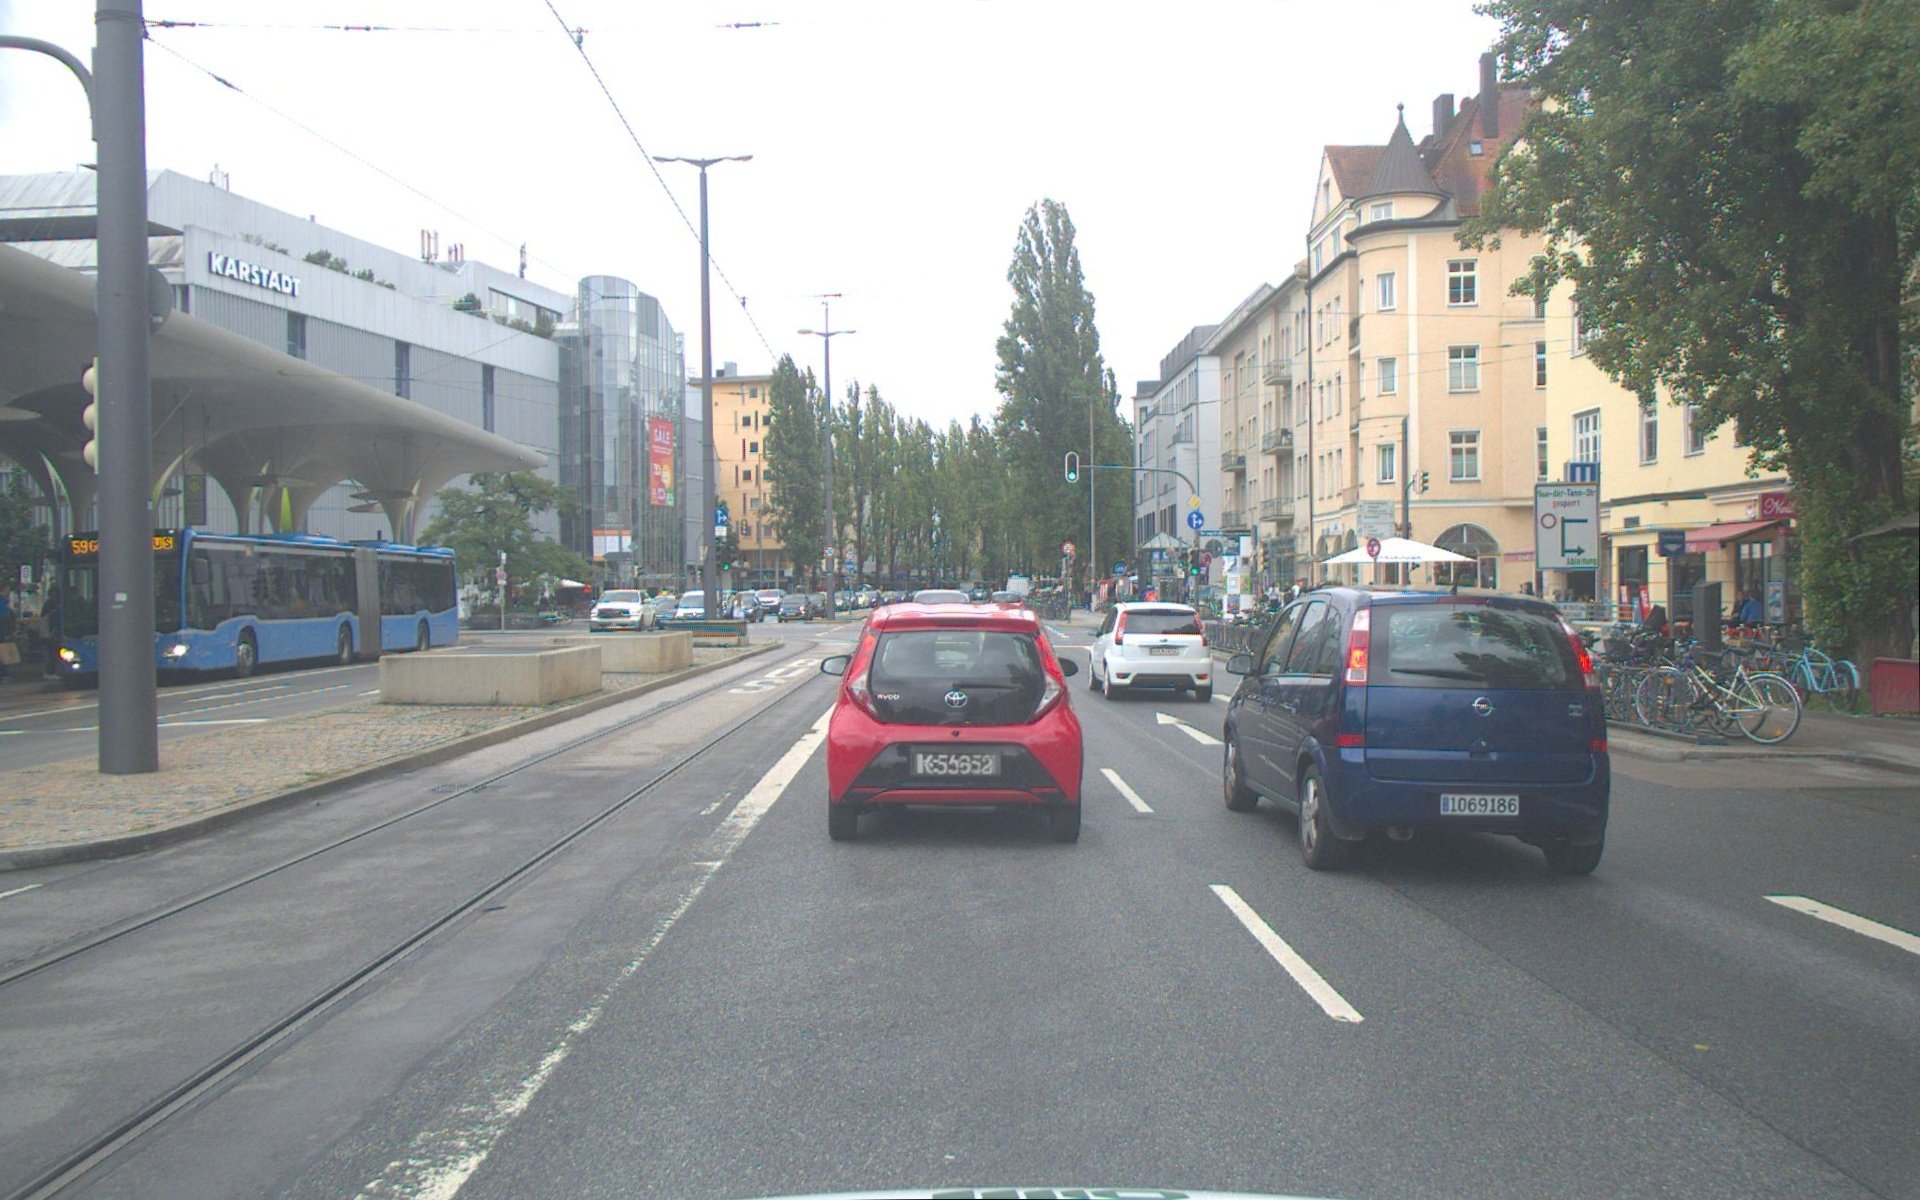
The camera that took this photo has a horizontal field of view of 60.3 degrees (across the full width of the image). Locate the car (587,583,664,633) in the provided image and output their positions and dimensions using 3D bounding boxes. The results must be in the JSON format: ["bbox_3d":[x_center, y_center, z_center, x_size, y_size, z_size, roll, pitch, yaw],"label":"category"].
[{"bbox_3d":[-13.678,0.296,68.051,2.131,1.920,6.153,-1,0,-2],"label":"car"}]

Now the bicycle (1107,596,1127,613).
[{"bbox_3d":[9.537,0.257,100.641,1.157,0.980,0.369,-1,0,-2],"label":"bicycle"}]

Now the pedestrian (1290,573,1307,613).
[{"bbox_3d":[15.487,-0.302,75.740,0.635,1.781,0.637,-1,3,1],"label":"pedestrian"}]

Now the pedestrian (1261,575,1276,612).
[{"bbox_3d":[14.304,-0.301,76.721,0.554,1.699,0.562,0,3,22],"label":"pedestrian"}]

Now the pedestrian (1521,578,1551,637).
[{"bbox_3d":[16.355,0.210,46.970,0.602,1.661,0.677,-1,0,-1],"label":"pedestrian"}]

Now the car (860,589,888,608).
[{"bbox_3d":[-8.033,-0.163,155.426,1.895,1.769,4.592,0,1,6],"label":"car"}]

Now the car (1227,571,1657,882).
[{"bbox_3d":[2.834,0.654,10.509,1.668,1.617,3.556,1,0,0],"label":"car"}]

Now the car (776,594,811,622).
[{"bbox_3d":[-8.967,0.426,89.015,1.518,1.471,3.529,-1,0,-12],"label":"car"}]

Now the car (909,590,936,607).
[{"bbox_3d":[-4.032,-0.204,178.520,1.951,1.721,4.925,1,1,10],"label":"car"}]

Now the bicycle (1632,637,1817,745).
[{"bbox_3d":[8.165,0.951,17.738,0.372,1.013,1.816,-1,2,-39],"label":"bicycle"}]

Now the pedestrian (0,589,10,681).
[{"bbox_3d":[-18.706,0.682,31.858,0.495,1.764,0.571,-1,0,-9],"label":"pedestrian"}]

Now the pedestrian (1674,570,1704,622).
[{"bbox_3d":[20.152,-0.116,45.742,0.534,1.421,0.547,-1,0,-27],"label":"pedestrian"}]

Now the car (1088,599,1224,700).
[{"bbox_3d":[3.013,0.719,26.046,1.665,1.451,3.496,0,0,-1],"label":"car"}]

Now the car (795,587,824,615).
[{"bbox_3d":[-8.585,0.042,94.332,1.475,1.561,2.831,-1,1,-9],"label":"car"}]

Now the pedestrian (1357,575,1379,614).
[{"bbox_3d":[18.365,-0.265,74.406,0.741,1.714,0.672,-4,4,-43],"label":"pedestrian"}]

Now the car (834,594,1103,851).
[{"bbox_3d":[0.064,0.714,11.286,1.572,1.487,3.130,0,0,0],"label":"car"}]

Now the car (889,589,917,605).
[{"bbox_3d":[-5.834,-0.282,169.327,1.951,1.561,4.591,-1,0,9],"label":"car"}]

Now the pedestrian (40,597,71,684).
[{"bbox_3d":[-17.259,0.770,31.570,0.385,1.633,0.390,-1,0,-6],"label":"pedestrian"}]

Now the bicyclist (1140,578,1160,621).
[{"bbox_3d":[8.498,-0.022,73.906,0.747,1.902,1.133,-1,0,0],"label":"bicyclist"}]

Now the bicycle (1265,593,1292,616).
[{"bbox_3d":[15.254,0.212,79.227,0.486,1.077,1.859,-1,0,-15],"label":"bicycle"}]

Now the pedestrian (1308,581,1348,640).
[{"bbox_3d":[11.176,0.317,50.306,0.867,1.773,0.854,-1,0,-17],"label":"pedestrian"}]

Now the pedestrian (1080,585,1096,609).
[{"bbox_3d":[8.293,-0.187,107.056,0.785,1.548,0.807,-1,0,-18],"label":"pedestrian"}]

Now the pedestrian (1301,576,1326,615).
[{"bbox_3d":[16.177,-0.203,75.683,0.914,1.786,1.065,-1,0,3],"label":"pedestrian"}]

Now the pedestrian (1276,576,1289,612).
[{"bbox_3d":[14.967,-0.286,76.818,0.548,1.637,0.568,-1,3,12],"label":"pedestrian"}]

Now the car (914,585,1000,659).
[{"bbox_3d":[-0.102,0.486,39.793,1.953,1.646,3.999,-1,0,-1],"label":"car"}]

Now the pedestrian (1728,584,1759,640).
[{"bbox_3d":[19.022,0.282,40.146,0.485,1.355,0.552,-1,0,-1],"label":"pedestrian"}]

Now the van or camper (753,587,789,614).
[{"bbox_3d":[-13.658,0.014,119.788,1.888,1.857,5.440,-1,0,0],"label":"van or camper"}]

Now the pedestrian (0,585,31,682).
[{"bbox_3d":[-17.769,0.616,30.896,0.556,1.774,0.752,-1,0,-19],"label":"pedestrian"}]

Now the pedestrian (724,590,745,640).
[{"bbox_3d":[-7.415,0.491,54.370,0.482,1.646,0.551,-1,0,-35],"label":"pedestrian"}]

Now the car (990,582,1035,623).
[{"bbox_3d":[2.472,0.119,78.858,1.953,1.870,4.000,-1,0,-1],"label":"car"}]

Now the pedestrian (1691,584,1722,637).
[{"bbox_3d":[18.482,0.260,40.956,0.485,1.312,0.552,-1,0,-1],"label":"pedestrian"}]

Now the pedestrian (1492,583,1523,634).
[{"bbox_3d":[15.790,0.243,47.701,0.662,1.447,0.616,-1,0,-1],"label":"pedestrian"}]

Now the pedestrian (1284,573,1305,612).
[{"bbox_3d":[15.492,-0.362,76.608,0.637,1.734,0.726,-3,4,-30],"label":"pedestrian"}]

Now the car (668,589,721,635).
[{"bbox_3d":[-11.551,0.485,72.172,1.750,1.887,4.216,-2,0,-3],"label":"car"}]

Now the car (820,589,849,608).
[{"bbox_3d":[-10.021,-0.120,132.374,1.952,1.436,4.168,-1,0,1],"label":"car"}]

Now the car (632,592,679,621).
[{"bbox_3d":[-15.264,0.305,83.098,1.639,1.402,4.612,-1,0,-2],"label":"car"}]

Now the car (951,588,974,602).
[{"bbox_3d":[0.297,-0.630,203.009,1.951,1.758,3.920,-1,0,13],"label":"car"}]

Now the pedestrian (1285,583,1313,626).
[{"bbox_3d":[12.652,0.176,61.755,0.717,1.567,0.887,-1,0,-15],"label":"pedestrian"}]

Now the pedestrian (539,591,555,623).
[{"bbox_3d":[-23.454,0.416,94.018,0.739,1.804,0.767,-1,0,-24],"label":"pedestrian"}]

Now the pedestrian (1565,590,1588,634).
[{"bbox_3d":[18.997,0.370,50.978,0.468,1.322,0.527,-1,0,-2],"label":"pedestrian"}]

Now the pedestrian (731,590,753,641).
[{"bbox_3d":[-7.135,0.498,54.086,0.513,1.646,0.461,-1,0,43],"label":"pedestrian"}]

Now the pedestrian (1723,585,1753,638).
[{"bbox_3d":[19.313,0.280,41.072,0.485,1.312,0.552,-1,0,-1],"label":"pedestrian"}]

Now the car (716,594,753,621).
[{"bbox_3d":[-12.389,0.382,91.100,1.644,1.420,4.231,-1,0,-3],"label":"car"}]

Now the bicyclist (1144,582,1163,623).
[{"bbox_3d":[8.036,0.099,68.791,0.601,1.686,1.251,-1,0,0],"label":"bicyclist"}]

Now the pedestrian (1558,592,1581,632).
[{"bbox_3d":[18.356,0.361,49.819,0.468,1.186,0.527,-1,0,-2],"label":"pedestrian"}]

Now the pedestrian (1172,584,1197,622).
[{"bbox_3d":[10.290,0.150,75.770,0.820,1.720,0.816,-1,0,37],"label":"pedestrian"}]

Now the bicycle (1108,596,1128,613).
[{"bbox_3d":[9.547,0.279,100.098,1.156,0.980,0.369,-1,0,3],"label":"bicycle"}]

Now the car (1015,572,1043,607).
[{"bbox_3d":[5.562,-0.874,134.389,2.063,2.766,4.804,-1,0,0],"label":"car"}]
